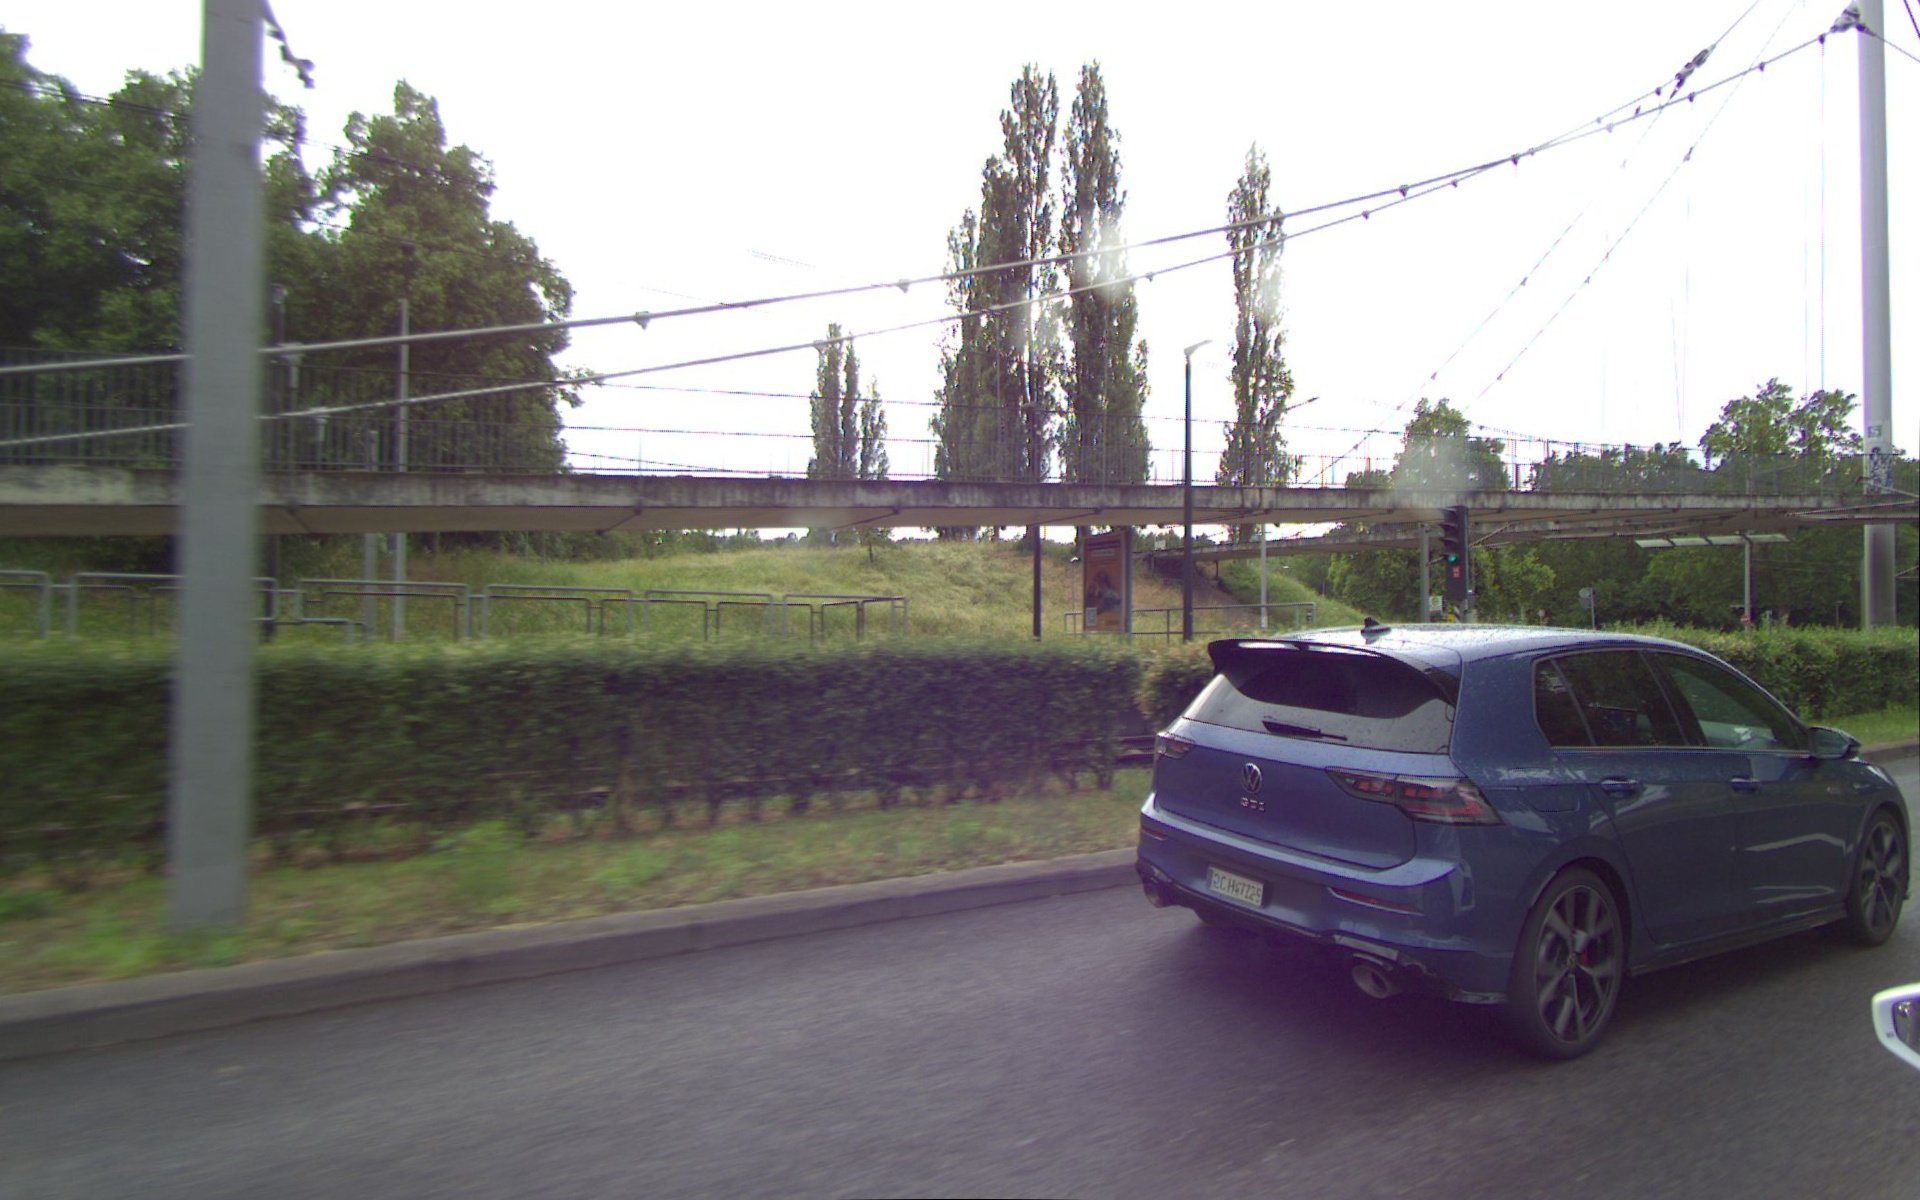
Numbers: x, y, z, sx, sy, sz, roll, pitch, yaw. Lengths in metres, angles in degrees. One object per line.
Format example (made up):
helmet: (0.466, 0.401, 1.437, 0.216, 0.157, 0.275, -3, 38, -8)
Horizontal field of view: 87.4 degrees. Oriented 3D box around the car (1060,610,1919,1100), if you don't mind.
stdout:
car: (2.751, 0.802, 4.777, 4.296, 1.397, 1.799, 2, -1, -30)
